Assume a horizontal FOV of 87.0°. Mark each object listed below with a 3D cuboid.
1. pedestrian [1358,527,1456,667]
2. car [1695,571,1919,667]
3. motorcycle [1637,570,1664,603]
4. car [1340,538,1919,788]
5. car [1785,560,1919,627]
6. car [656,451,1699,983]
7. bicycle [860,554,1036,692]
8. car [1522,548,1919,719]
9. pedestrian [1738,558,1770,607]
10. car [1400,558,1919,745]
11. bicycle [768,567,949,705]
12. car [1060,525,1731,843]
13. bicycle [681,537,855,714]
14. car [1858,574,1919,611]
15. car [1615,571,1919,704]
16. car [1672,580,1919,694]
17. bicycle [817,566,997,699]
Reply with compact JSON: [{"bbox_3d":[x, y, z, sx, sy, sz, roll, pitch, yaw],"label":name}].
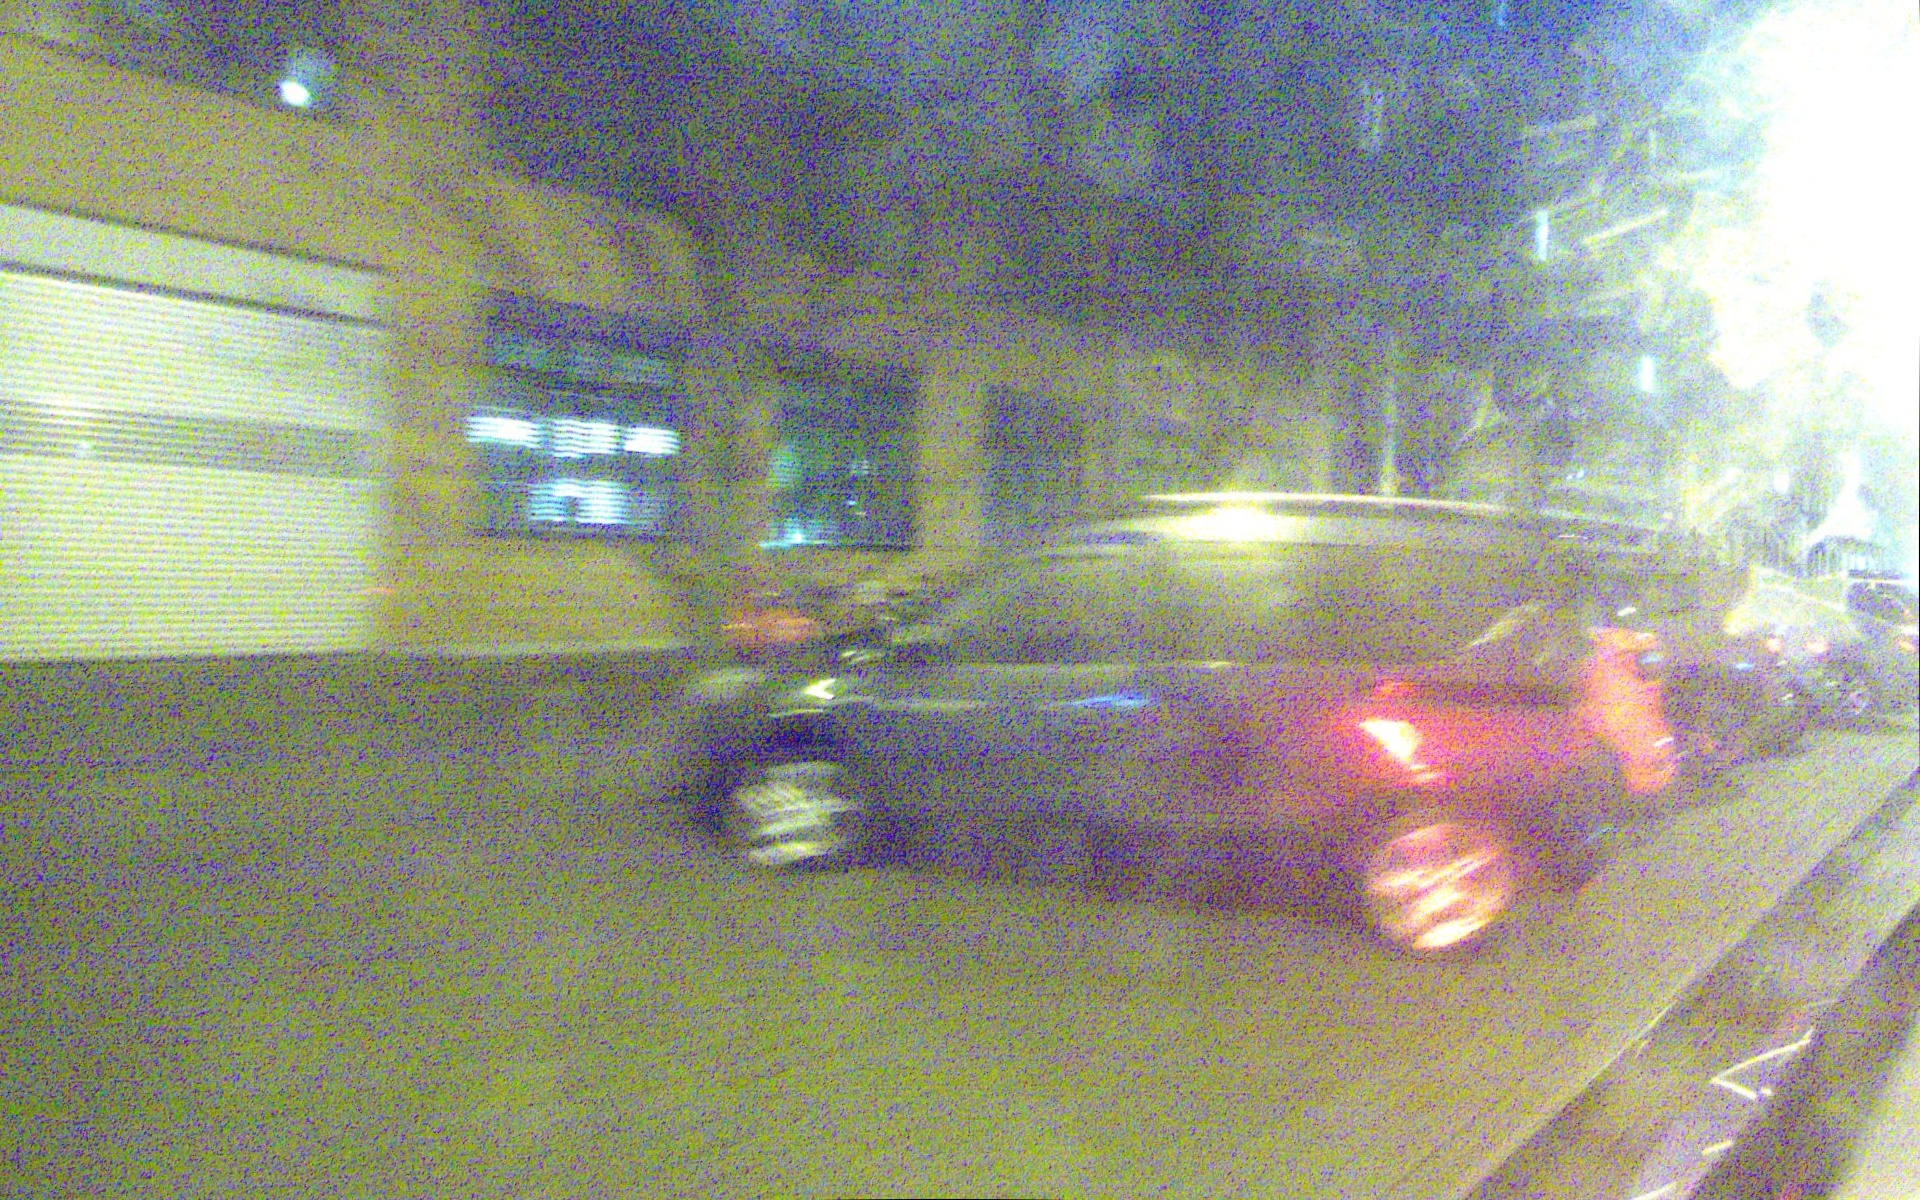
[{"bbox_3d":[6.370,-0.074,14.421,0.932,1.856,0.840,-2,8,-45],"label":"pedestrian"},{"bbox_3d":[16.454,0.321,19.222,3.673,1.541,1.644,4,4,24],"label":"car"},{"bbox_3d":[23.631,-0.462,34.623,0.522,1.080,2.027,2,2,41],"label":"motorcycle"},{"bbox_3d":[5.245,0.407,8.511,3.754,1.750,1.731,1,1,19],"label":"car"},{"bbox_3d":[35.016,-0.254,38.593,4.871,2.369,2.222,2,2,15],"label":"car"},{"bbox_3d":[0.817,0.322,5.071,4.186,1.881,1.710,3,3,14],"label":"car"},{"bbox_3d":[-0.165,0.187,10.426,1.972,1.205,0.502,7,5,43],"label":"bicycle"},{"bbox_3d":[9.126,0.318,11.995,4.059,1.787,1.845,1,1,22],"label":"car"},{"bbox_3d":[31.817,-0.696,40.558,0.828,1.863,0.747,3,2,-42],"label":"pedestrian"},{"bbox_3d":[6.784,0.406,10.389,4.012,1.631,1.833,1,1,20],"label":"car"},{"bbox_3d":[-1.005,0.285,9.582,1.972,1.067,0.502,7,5,43],"label":"bicycle"},{"bbox_3d":[2.676,0.421,6.924,3.722,1.750,1.708,1,1,16],"label":"car"},{"bbox_3d":[-1.785,0.158,9.123,0.767,1.351,1.980,1,4,-34],"label":"bicycle"},{"bbox_3d":[47.512,-0.315,50.310,3.753,1.709,1.826,4,2,18],"label":"car"},{"bbox_3d":[11.155,0.439,13.817,3.532,1.631,1.696,1,1,28],"label":"car"},{"bbox_3d":[12.764,0.495,15.340,3.020,1.571,1.490,1,1,28],"label":"car"},{"bbox_3d":[-0.570,0.266,9.920,1.972,1.067,0.502,7,5,43],"label":"bicycle"}]
